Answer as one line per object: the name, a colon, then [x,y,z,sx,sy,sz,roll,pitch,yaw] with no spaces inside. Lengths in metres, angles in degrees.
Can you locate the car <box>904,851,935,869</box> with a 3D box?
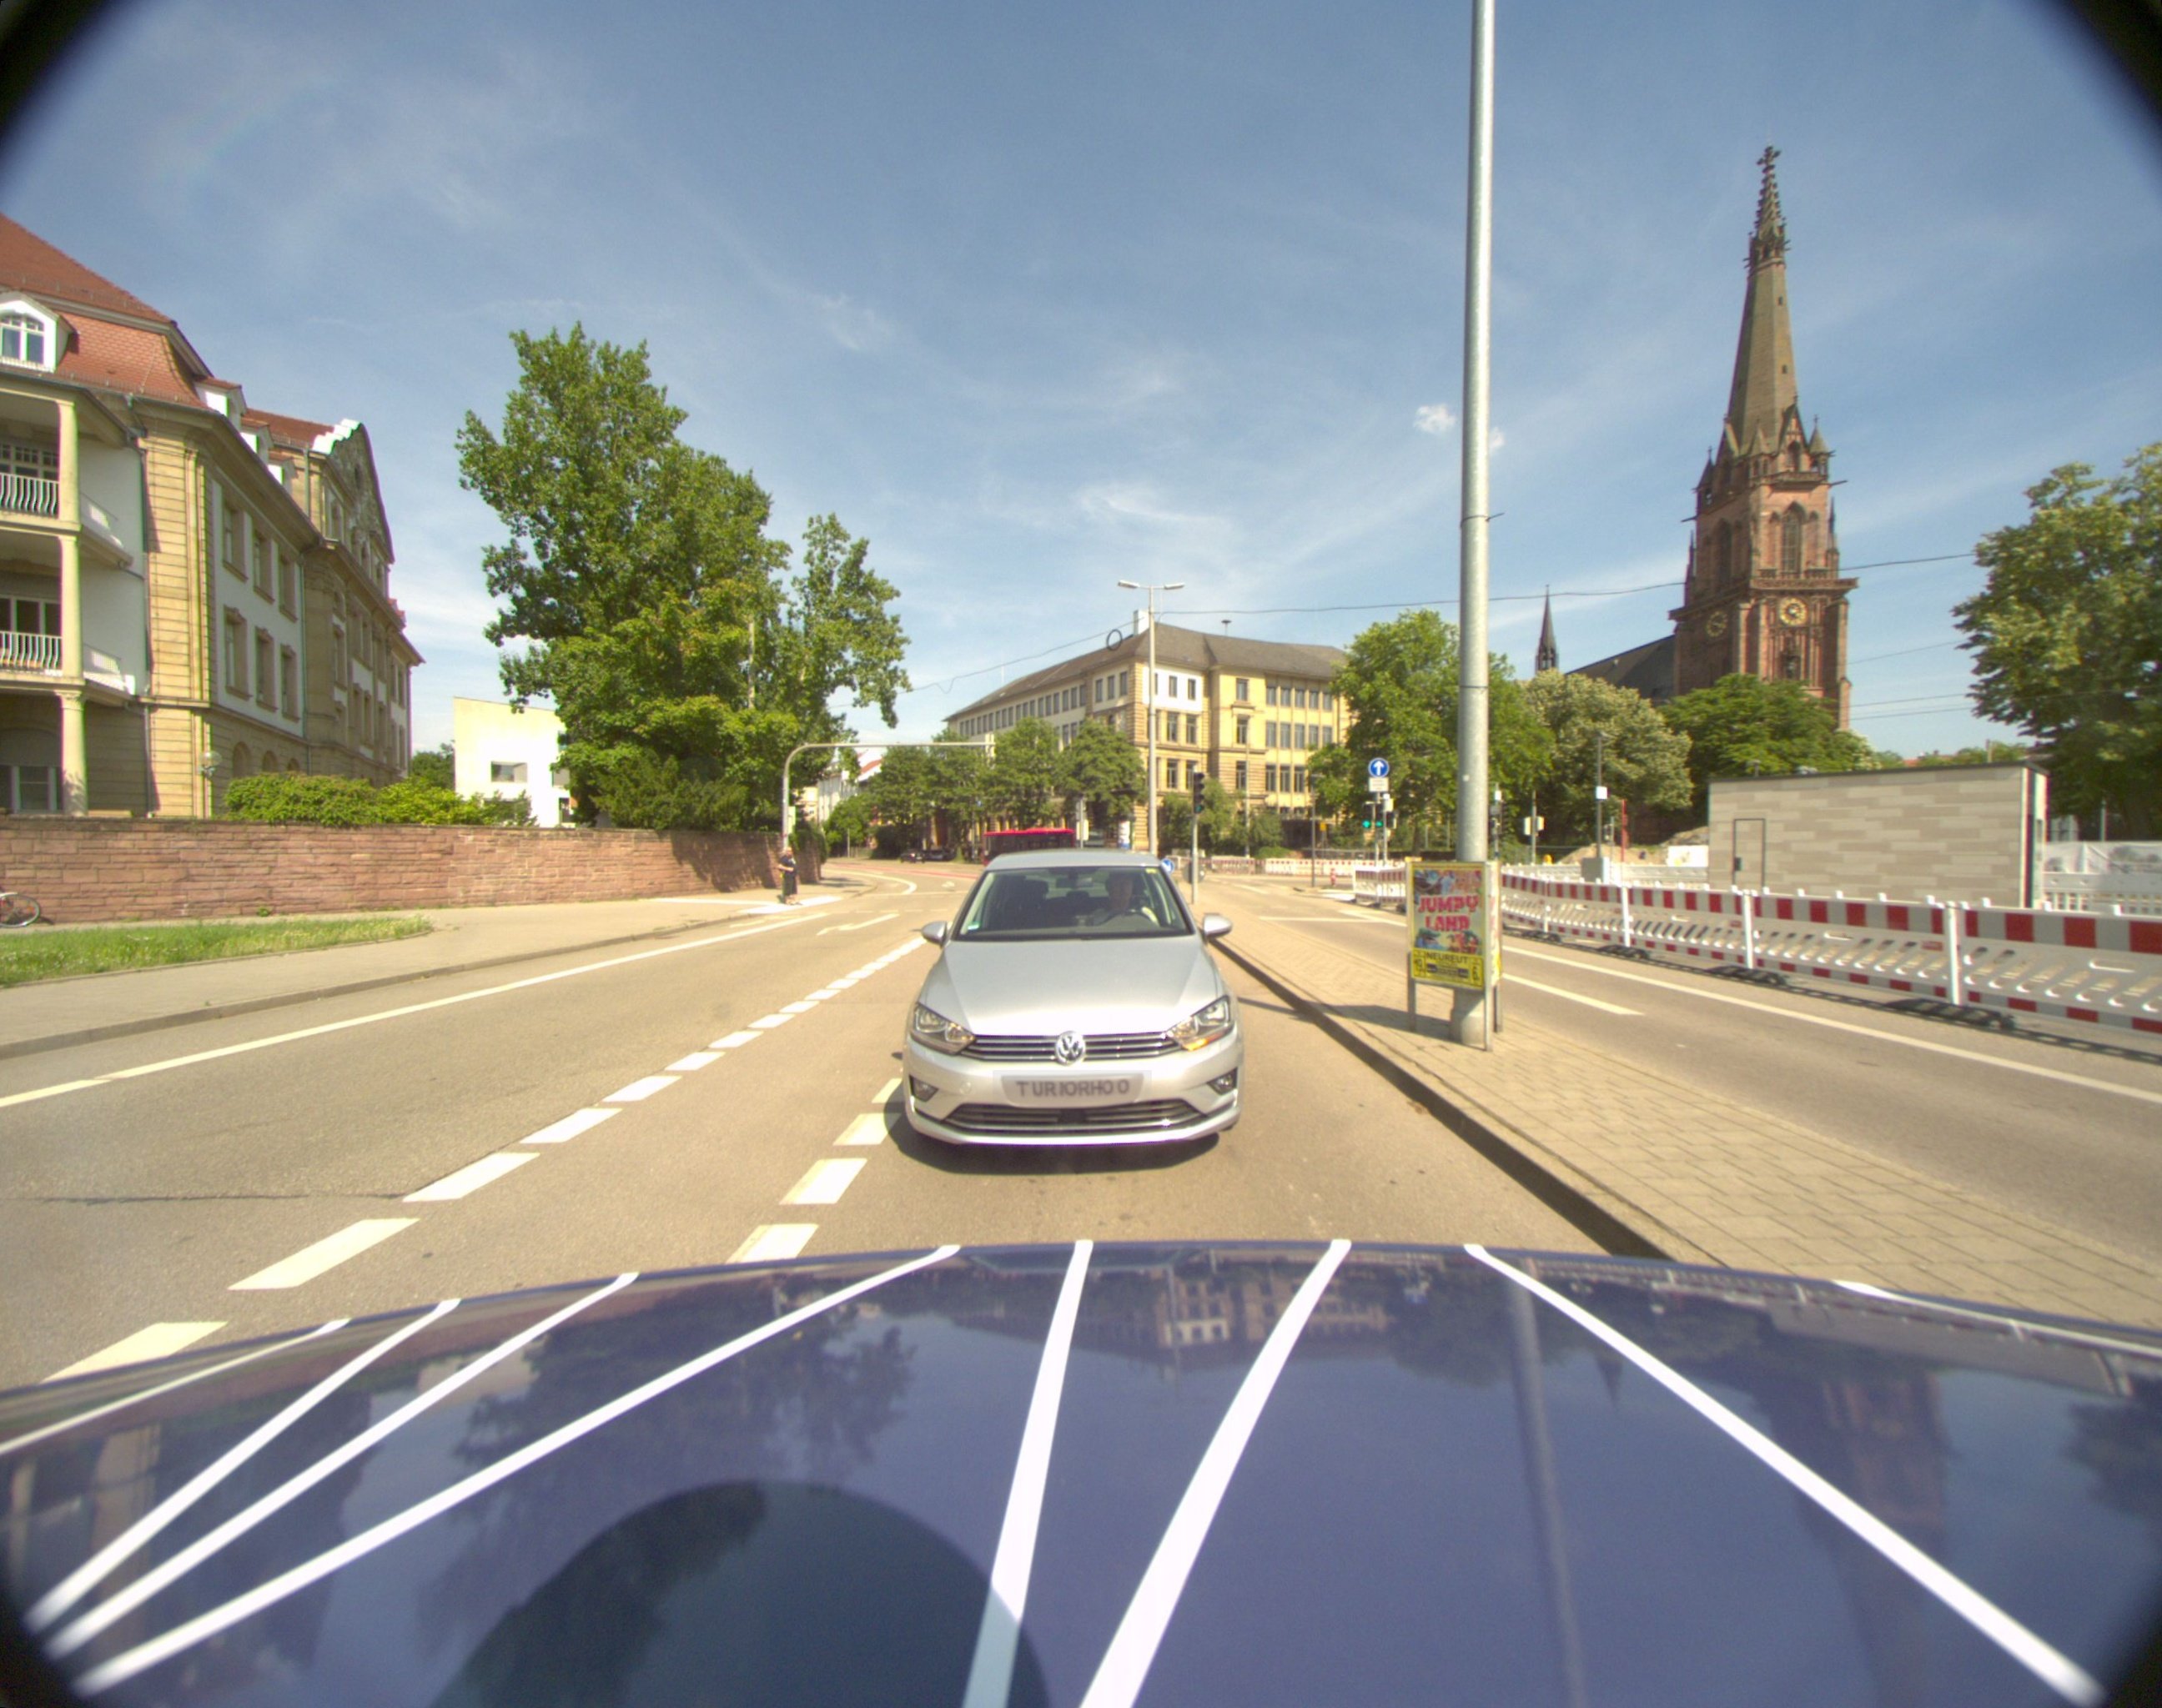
car: [-17.732,0.627,83.419,2.003,1.880,3.990,-3,1,-31]

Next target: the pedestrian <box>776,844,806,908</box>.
pedestrian: [-9.145,0.679,23.961,0.796,2.002,0.615,0,1,-14]

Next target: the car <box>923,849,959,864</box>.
car: [-17.496,0.249,95.115,4.006,1.653,1.994,-3,4,-35]

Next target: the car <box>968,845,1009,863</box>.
car: [-10.071,-0.028,82.943,4.006,1.653,1.994,-3,4,-36]

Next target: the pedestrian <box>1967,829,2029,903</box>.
pedestrian: [25.584,0.324,21.203,0.820,2.002,0.686,1,1,3]

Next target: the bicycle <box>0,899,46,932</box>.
bicycle: [-20.558,1.181,14.485,0.274,0.598,0.950,1,1,39]

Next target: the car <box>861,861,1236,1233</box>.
car: [-0.055,0.886,5.508,1.687,1.577,4.152,0,1,3]

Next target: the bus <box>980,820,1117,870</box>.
bus: [-2.650,-0.515,53.363,3.138,3.076,12.380,-3,1,-36]
